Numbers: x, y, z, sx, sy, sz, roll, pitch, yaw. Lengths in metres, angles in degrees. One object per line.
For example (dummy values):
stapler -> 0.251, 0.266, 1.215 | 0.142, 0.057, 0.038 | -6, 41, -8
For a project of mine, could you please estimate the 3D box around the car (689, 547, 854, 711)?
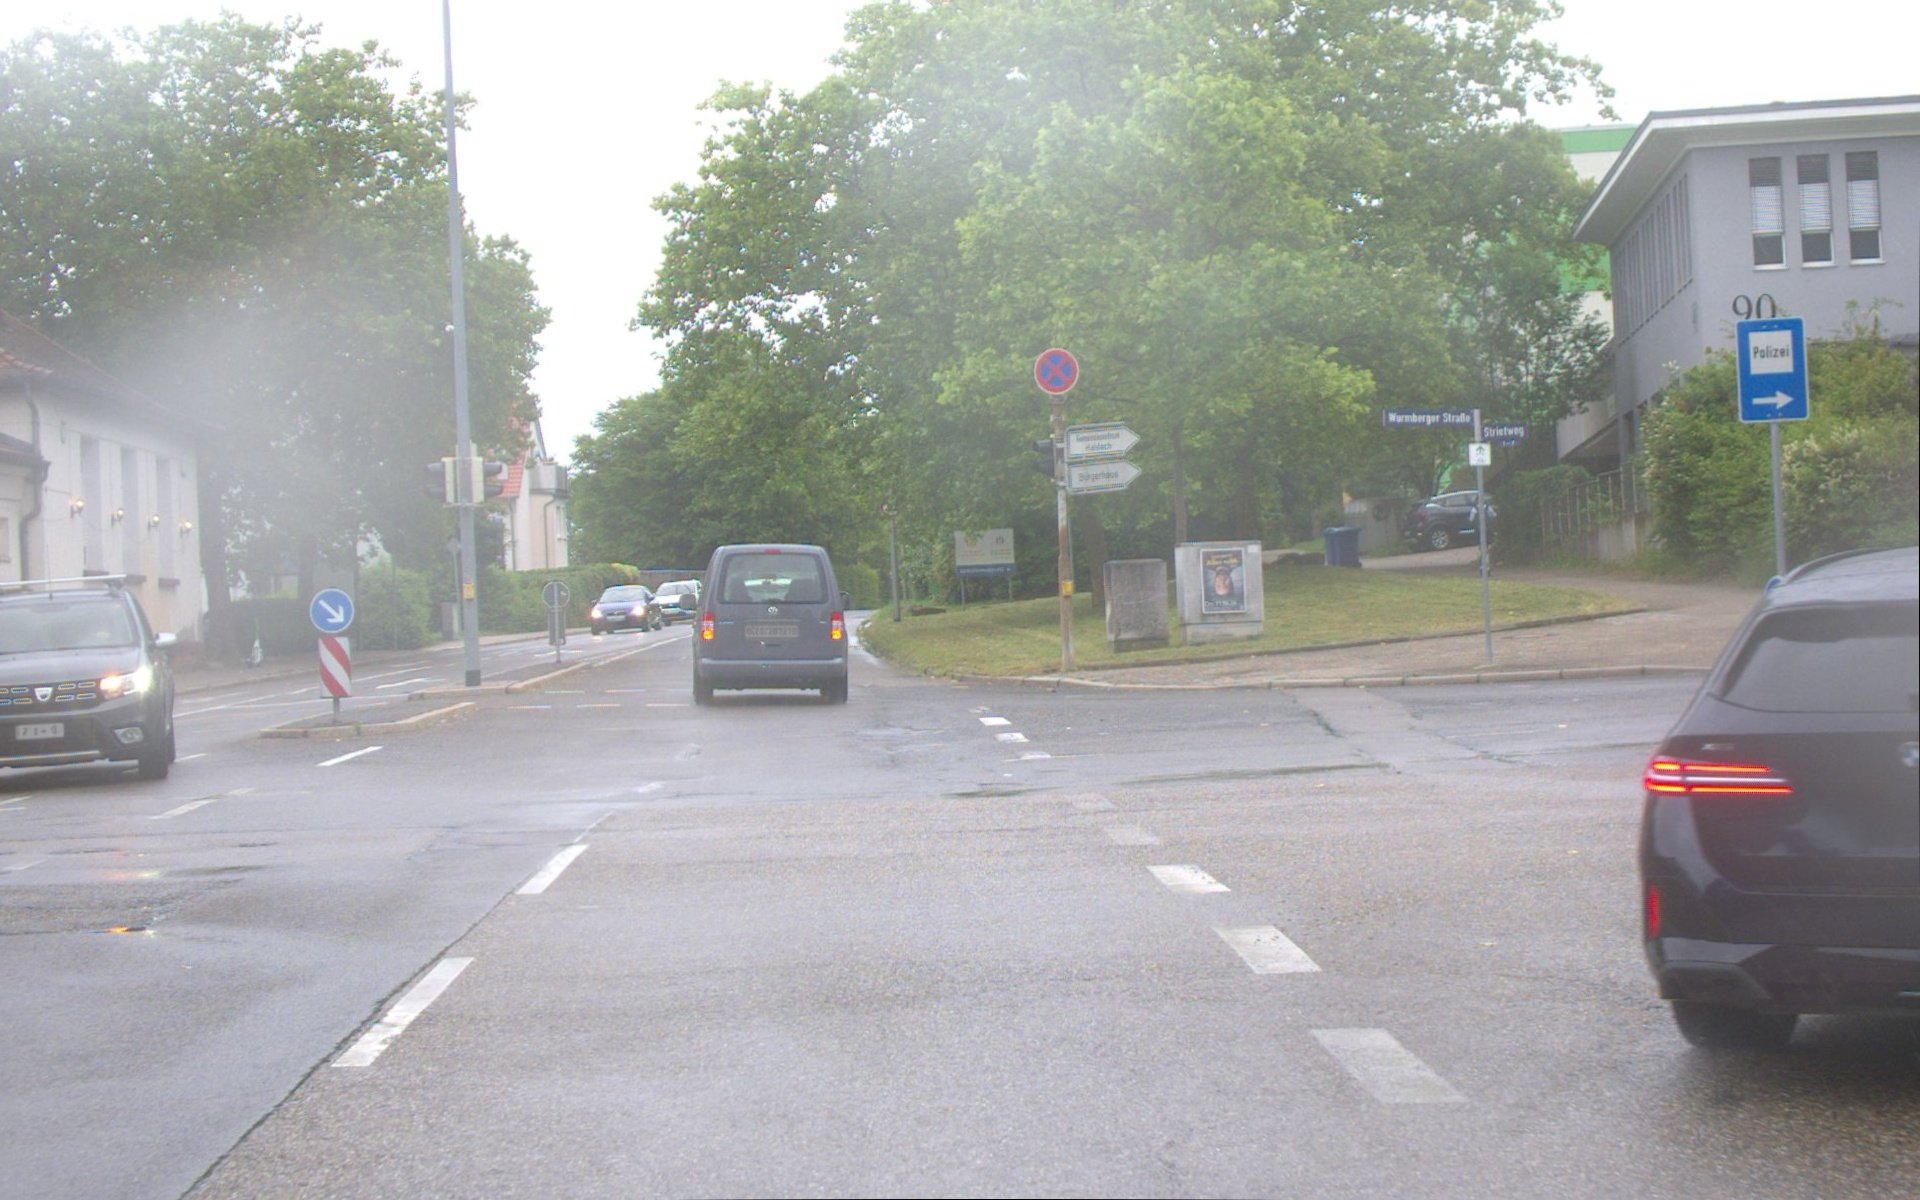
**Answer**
car -> -2.199, 0.317, 40.191 | 1.812, 1.802, 3.757 | -1, 0, -3

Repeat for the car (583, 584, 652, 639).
car -> -10.580, 0.343, 106.369 | 1.793, 1.522, 4.209 | -2, 1, -2

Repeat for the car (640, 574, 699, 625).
car -> -10.334, -0.031, 122.339 | 1.830, 1.666, 4.051 | -2, 1, -2

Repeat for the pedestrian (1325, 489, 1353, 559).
pedestrian -> 9.590, -1.927, 87.018 | 0.557, 1.757, 0.728 | -1, 0, -4

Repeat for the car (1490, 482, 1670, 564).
car -> 14.181, -1.751, 78.839 | 3.988, 1.809, 1.999 | -1, 0, 8

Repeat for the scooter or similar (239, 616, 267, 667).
scooter or similar -> -14.888, 0.872, 72.442 | 0.389, 1.061, 1.410 | -1, 0, -4

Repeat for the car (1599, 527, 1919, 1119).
car -> 2.807, 0.566, 10.611 | 1.524, 1.529, 3.530 | -1, 0, 12

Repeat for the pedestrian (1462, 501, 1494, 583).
pedestrian -> 10.295, -1.148, 68.349 | 0.601, 1.611, 0.525 | -1, 0, 7

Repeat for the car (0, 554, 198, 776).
car -> -7.300, 0.469, 27.741 | 1.898, 1.572, 4.504 | -3, 1, -9
